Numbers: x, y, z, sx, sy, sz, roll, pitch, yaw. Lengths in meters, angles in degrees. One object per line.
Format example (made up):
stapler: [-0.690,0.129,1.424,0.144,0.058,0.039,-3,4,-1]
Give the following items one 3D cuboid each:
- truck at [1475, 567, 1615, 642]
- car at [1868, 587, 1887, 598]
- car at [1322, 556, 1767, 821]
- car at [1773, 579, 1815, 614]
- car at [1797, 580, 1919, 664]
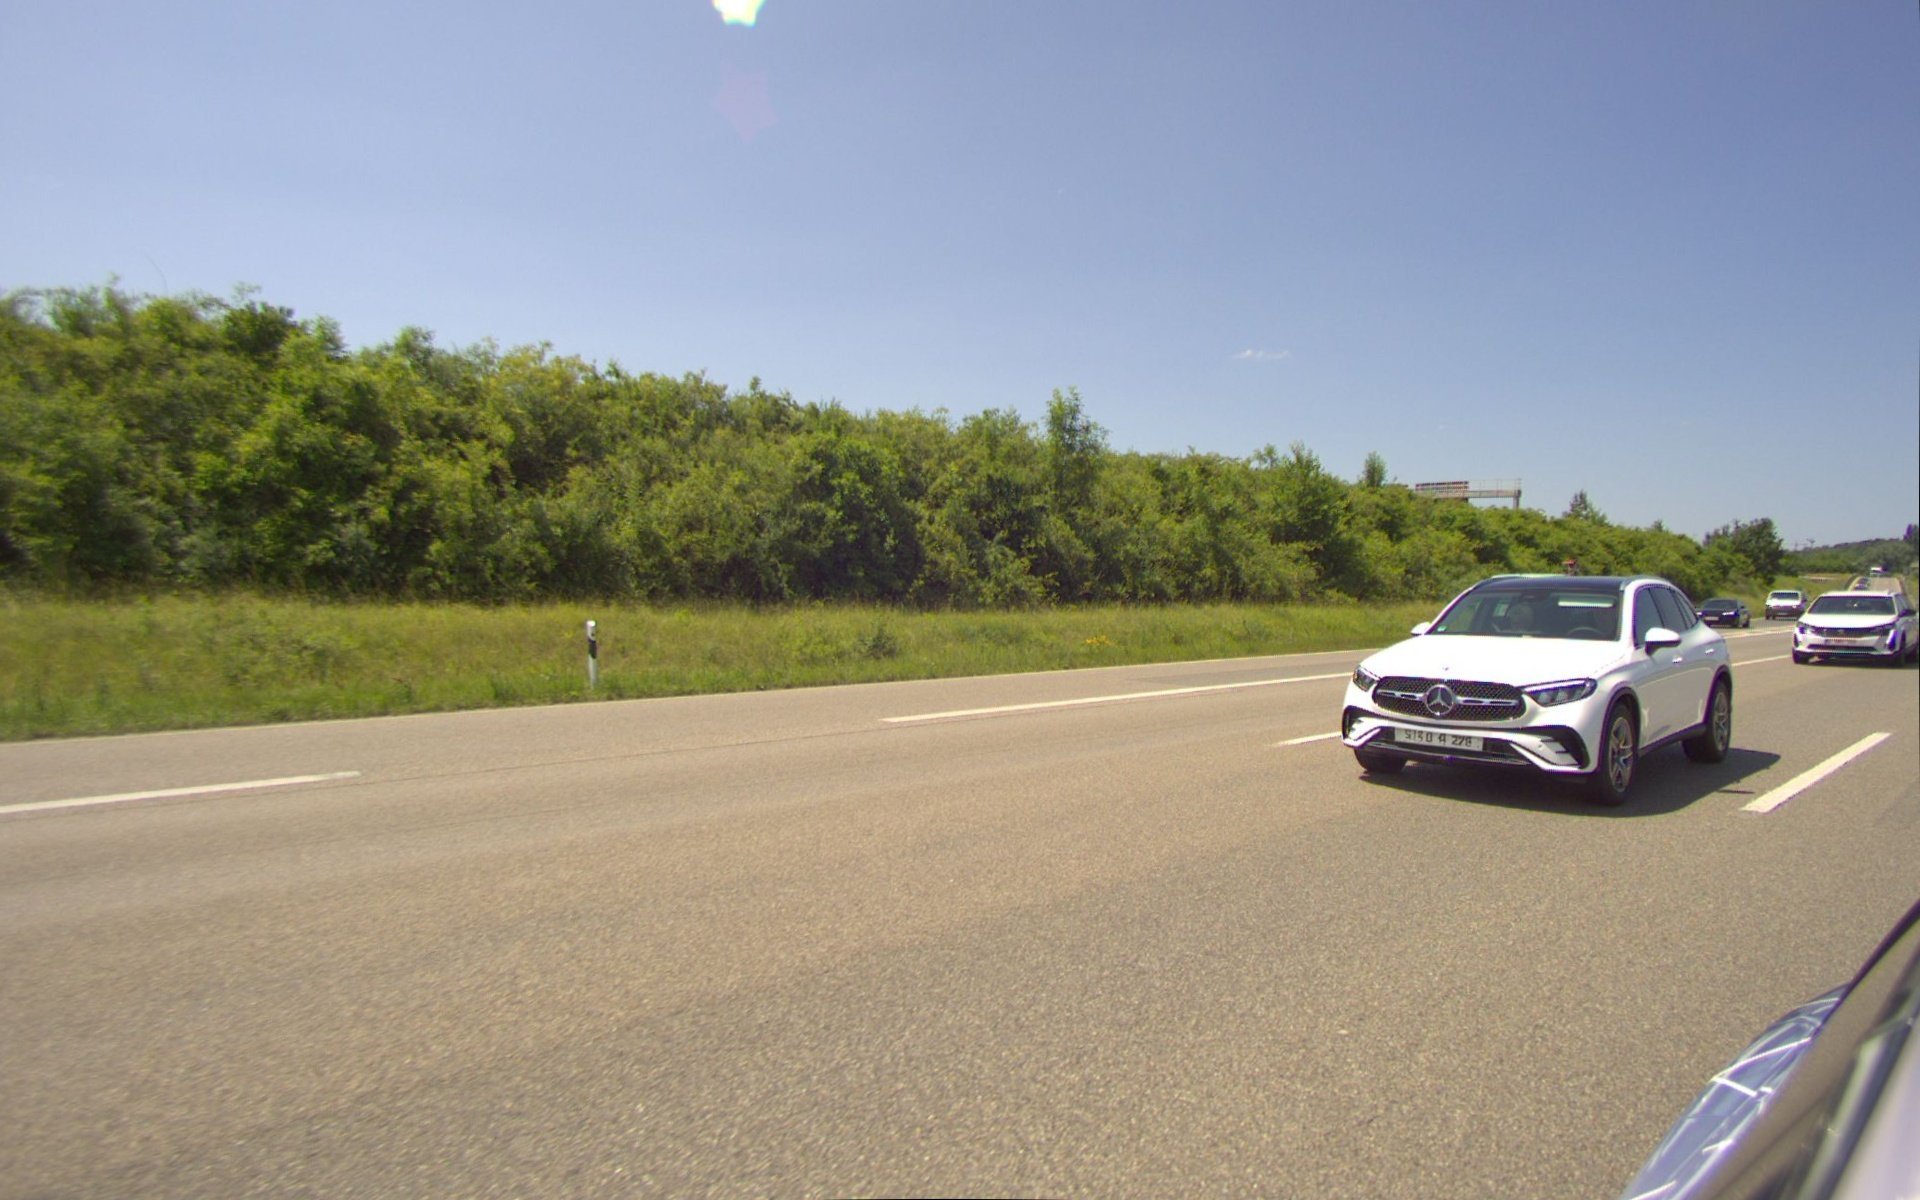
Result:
truck: [18.370,0.083,31.640,6.016,2.118,2.167,-1,2,-43]
car: [149.167,-1.229,164.518,4.540,1.650,1.980,-2,1,-43]
car: [5.146,0.527,8.618,4.556,1.676,1.908,-1,1,-41]
car: [55.121,-0.248,66.865,1.992,2.199,4.820,1,1,42]
car: [20.419,0.408,22.670,4.538,1.650,1.896,-2,1,-42]
